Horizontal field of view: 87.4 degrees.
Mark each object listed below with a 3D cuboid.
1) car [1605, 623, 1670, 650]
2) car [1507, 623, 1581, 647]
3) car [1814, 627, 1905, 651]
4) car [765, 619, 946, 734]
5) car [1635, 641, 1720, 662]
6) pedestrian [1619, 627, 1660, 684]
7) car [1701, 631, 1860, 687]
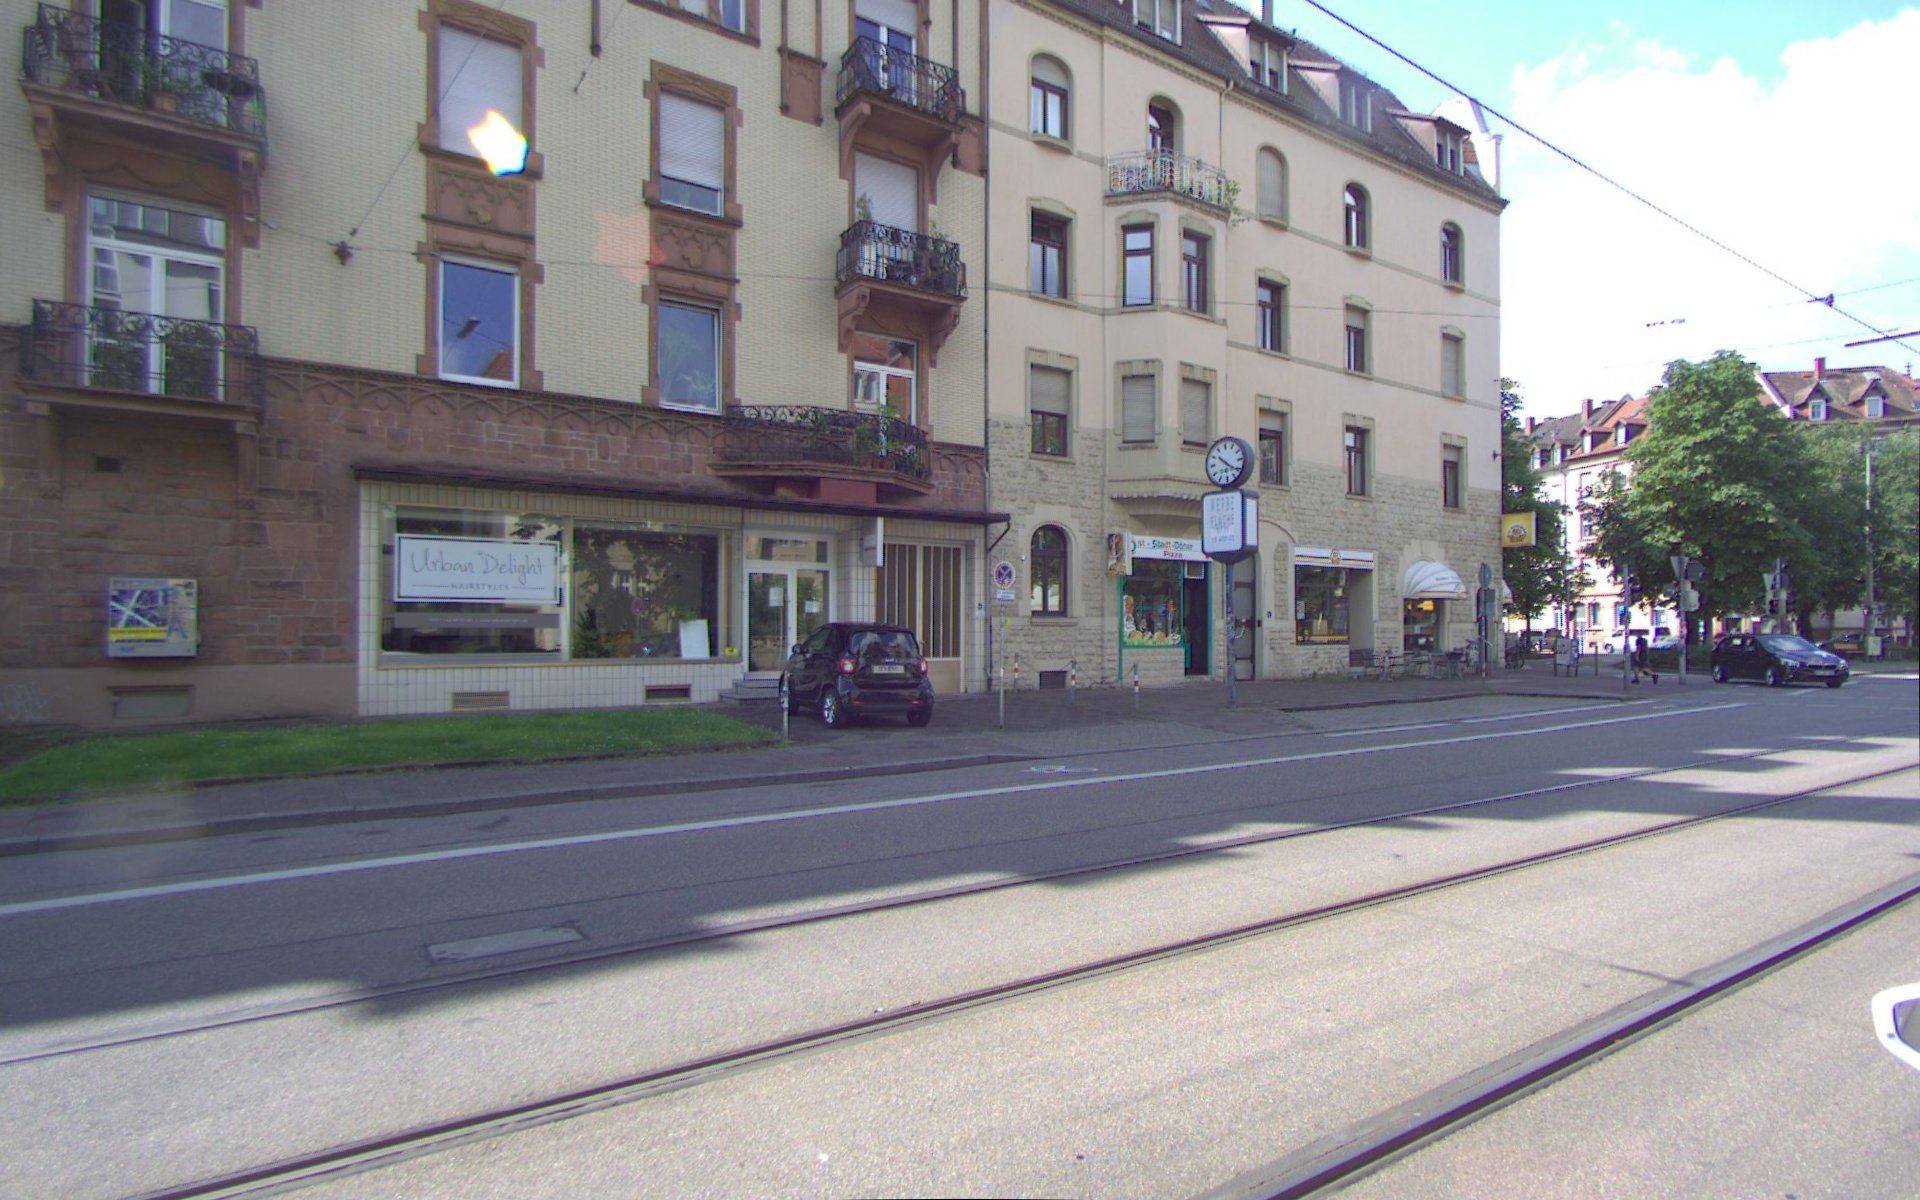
[{"bbox_3d":[50.470,2.698,74.907,1.962,1.929,3.997,0,-2,-5],"label":"car"},{"bbox_3d":[40.074,2.405,69.014,1.976,1.617,3.970,1,-2,-29],"label":"car"},{"bbox_3d":[55.481,2.387,62.054,3.929,1.378,1.675,-1,-2,30],"label":"car"},{"bbox_3d":[-1.750,1.123,16.001,1.716,1.505,3.163,1,1,-30],"label":"car"},{"bbox_3d":[44.609,3.188,62.513,3.919,1.198,1.680,0,-2,12],"label":"car"},{"bbox_3d":[20.567,1.673,30.417,0.690,1.706,0.750,1,-1,-21],"label":"pedestrian"},{"bbox_3d":[24.501,1.713,30.202,1.726,1.538,4.071,0,-2,6],"label":"car"}]
